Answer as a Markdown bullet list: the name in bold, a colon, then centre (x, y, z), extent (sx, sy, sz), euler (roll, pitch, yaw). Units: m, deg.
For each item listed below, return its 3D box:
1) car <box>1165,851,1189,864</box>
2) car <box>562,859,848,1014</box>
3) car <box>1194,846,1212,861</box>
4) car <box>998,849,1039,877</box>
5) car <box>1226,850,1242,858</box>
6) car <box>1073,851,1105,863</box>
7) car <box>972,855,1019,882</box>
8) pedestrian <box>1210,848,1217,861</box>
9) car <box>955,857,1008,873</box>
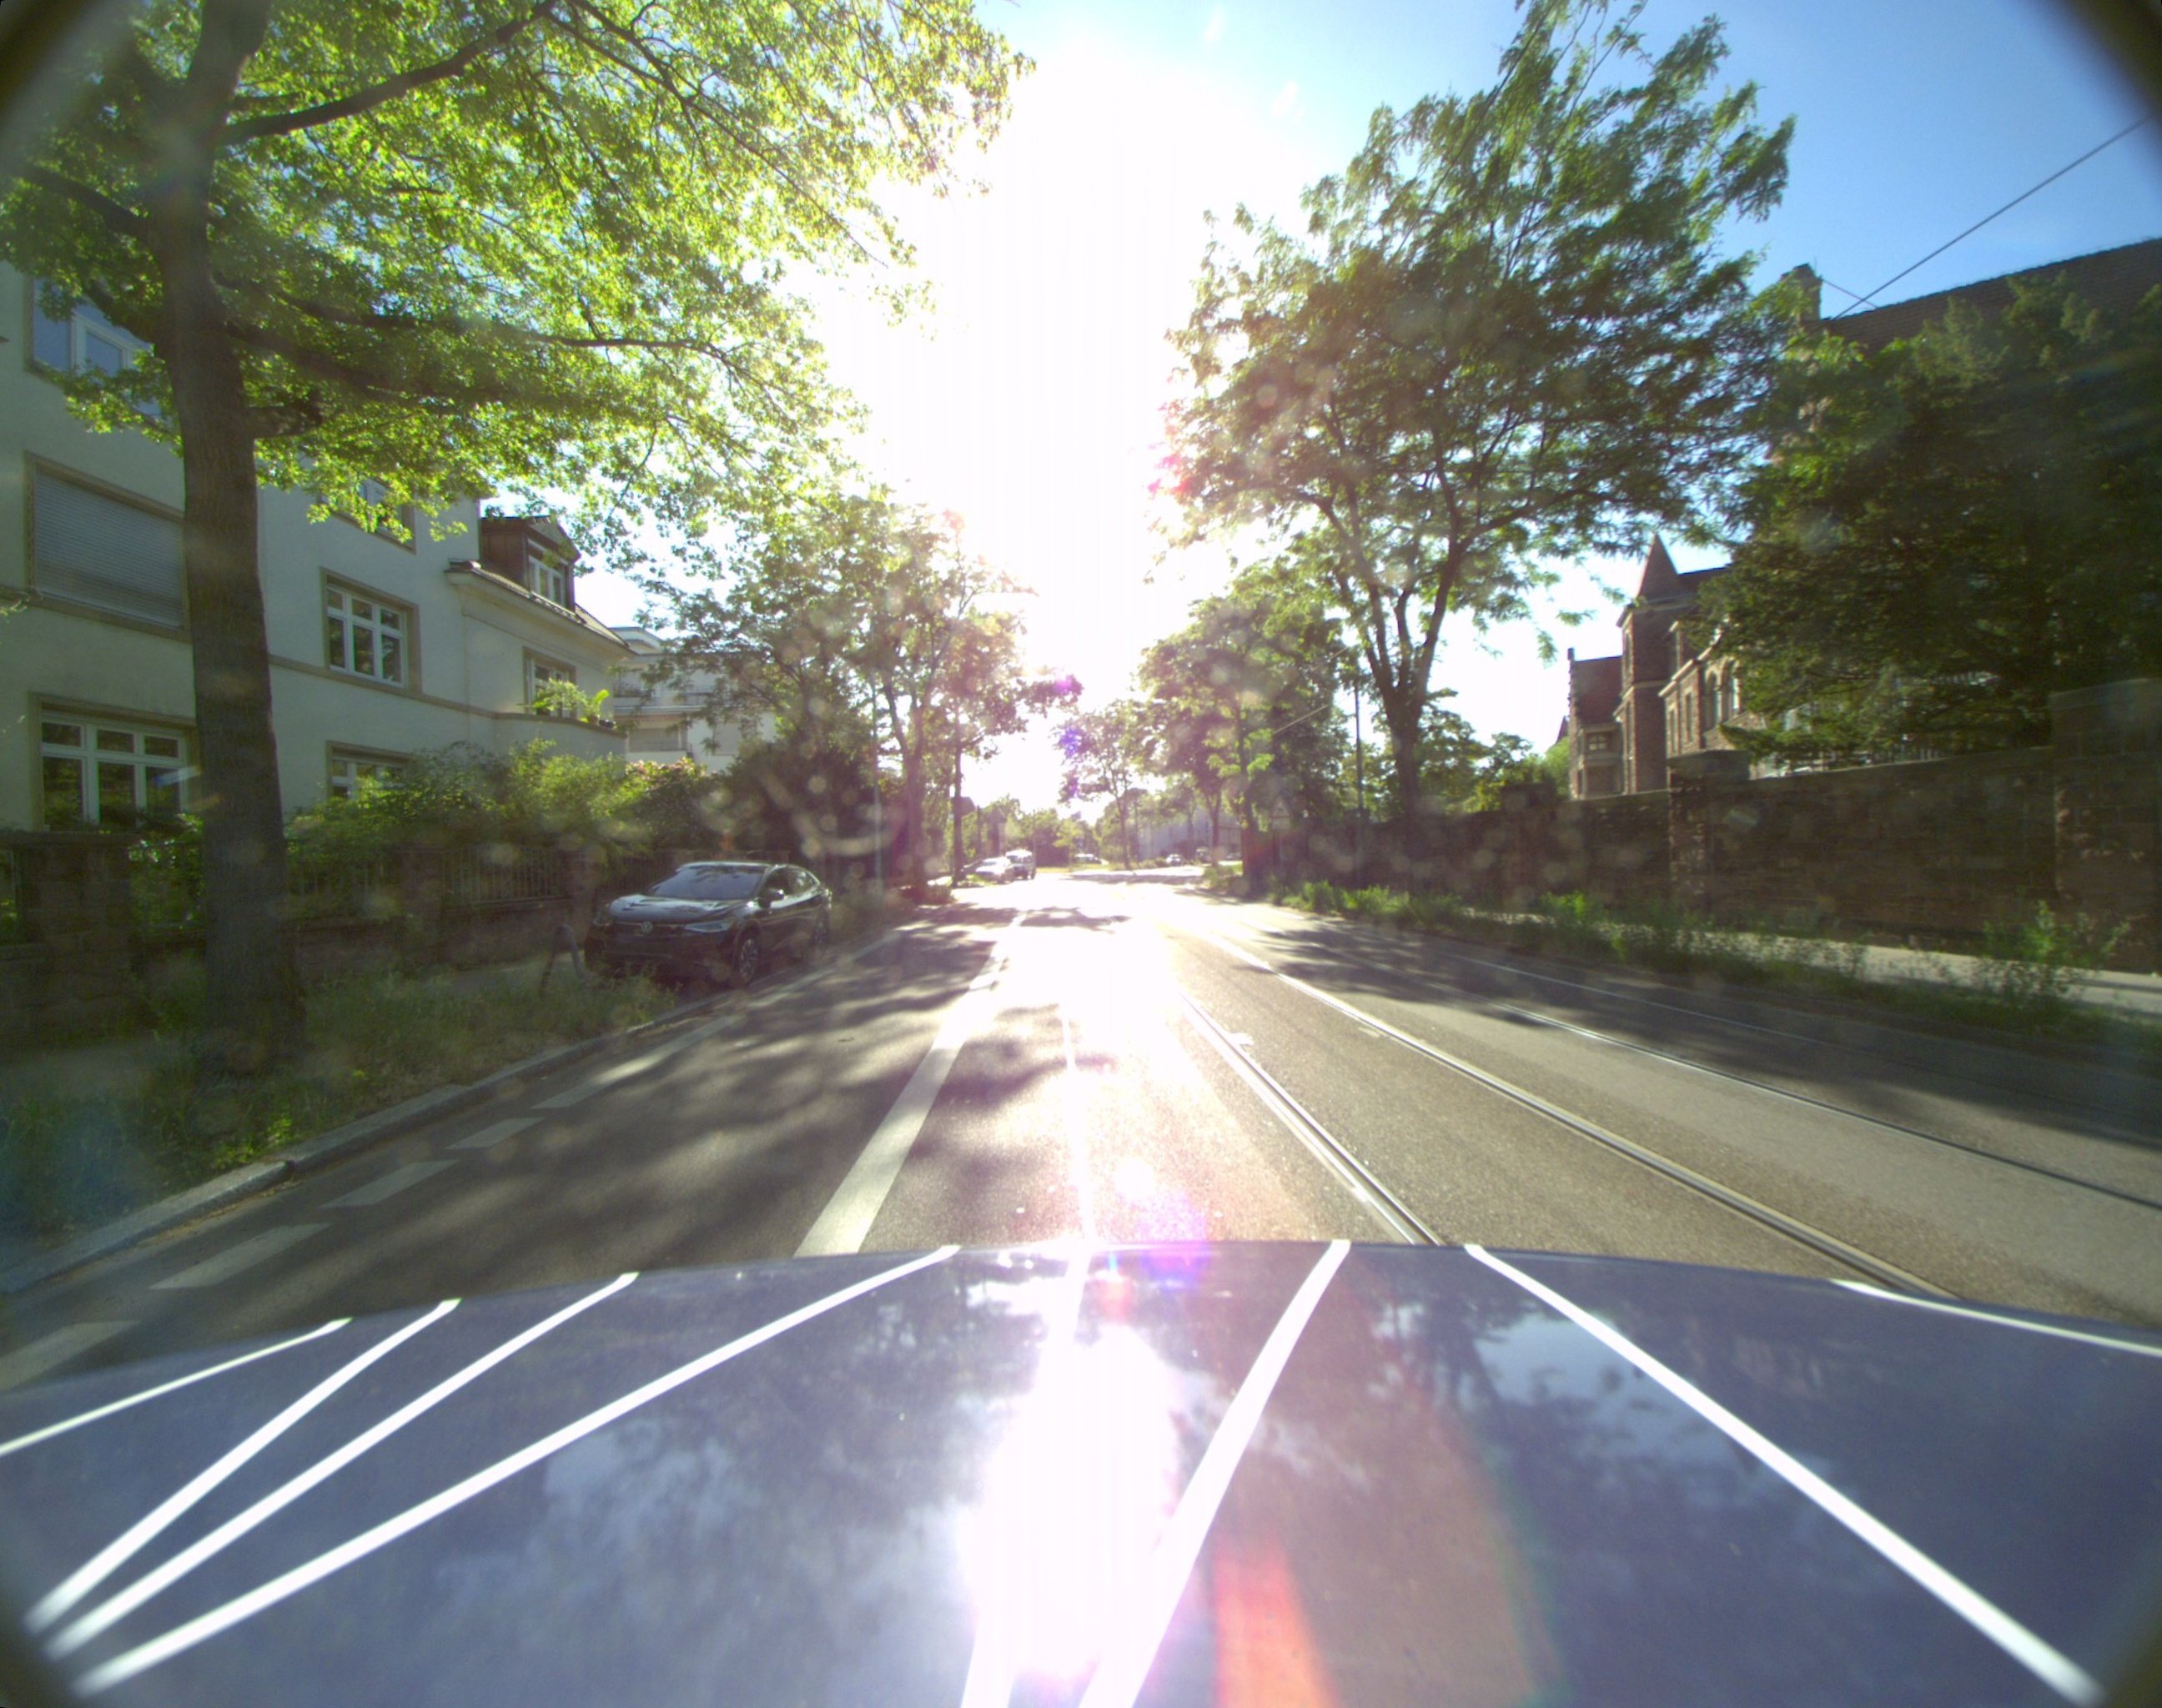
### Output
- **car**: centre (12.493, 0.435, 98.696), extent (2.002, 1.457, 5.439), euler (2, 2, 18)
- **car**: centre (-5.086, 0.979, 11.171), extent (1.809, 1.684, 4.728), euler (2, 0, 0)
- **car**: centre (18.688, -0.079, 115.961), extent (1.996, 2.083, 4.722), euler (-1, 0, 18)
- **car**: centre (-4.120, 0.581, 51.062), extent (2.027, 1.736, 4.753), euler (-1, 0, 4)
- **car**: centre (29.121, -0.036, 144.760), extent (1.739, 1.487, 4.538), euler (-1, 0, 29)
- **car**: centre (1.395, 0.470, 128.501), extent (5.209, 1.874, 2.100), euler (-2, 0, 1)
- **car**: centre (-5.006, 0.833, 45.121), extent (1.998, 1.415, 4.333), euler (-1, 1, 3)
- **pedestrian**: centre (19.180, 0.001, 110.176), extent (0.878, 1.854, 1.021), euler (-1, 1, 13)
- **car**: centre (-9.000, 1.000, 69.185), extent (4.521, 1.361, 1.969), euler (-1, 0, 1)
